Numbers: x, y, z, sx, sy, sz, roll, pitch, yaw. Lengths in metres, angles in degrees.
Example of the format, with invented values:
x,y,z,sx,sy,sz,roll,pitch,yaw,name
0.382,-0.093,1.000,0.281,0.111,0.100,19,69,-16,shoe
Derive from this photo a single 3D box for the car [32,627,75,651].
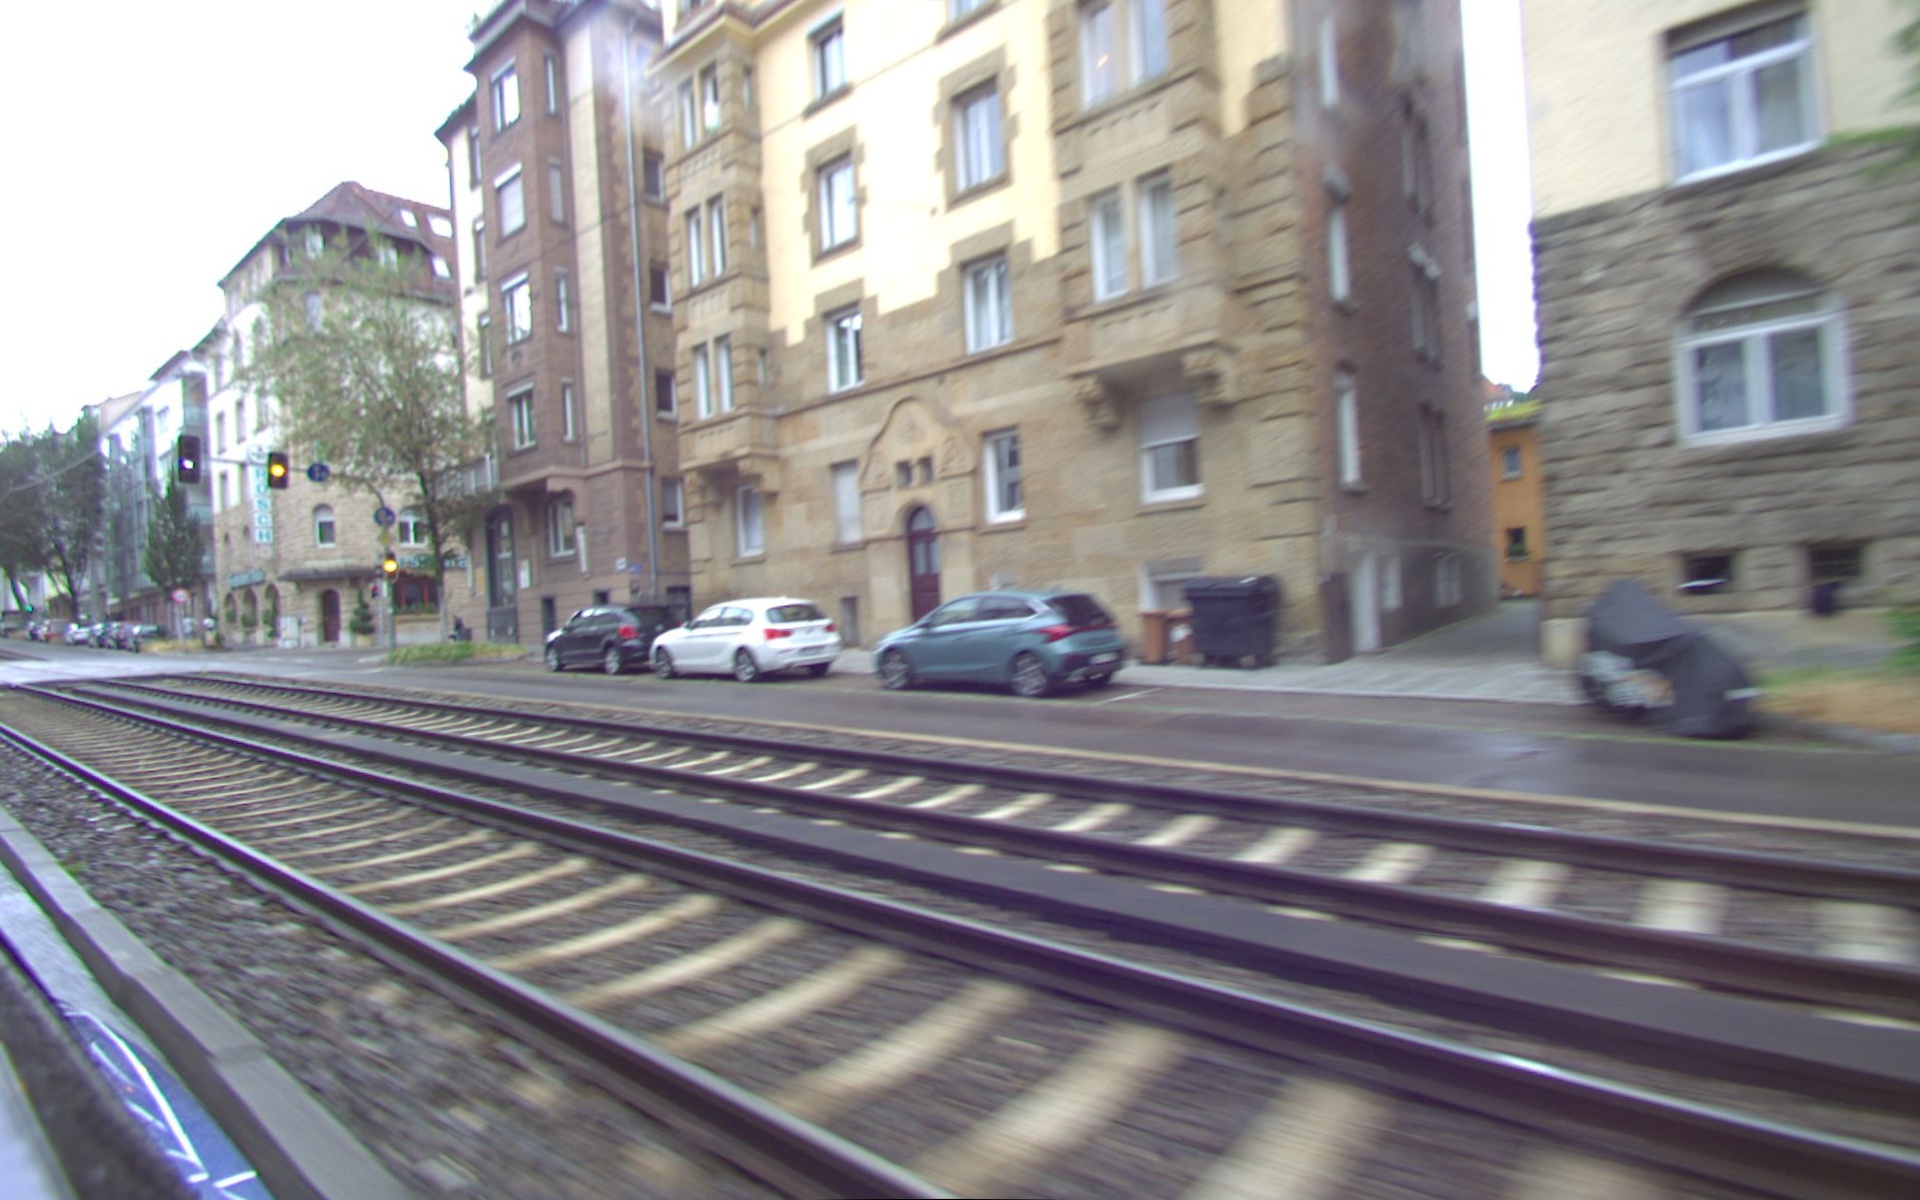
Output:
x,y,z,sx,sy,sz,roll,pitch,yaw,name
-64.837,2.785,72.370,4.156,1.581,1.758,-1,1,40,car

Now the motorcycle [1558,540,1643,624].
x,y,z,sx,sy,sz,roll,pitch,yaw,name
12.770,-0.356,20.133,0.992,1.525,2.852,-5,-2,39,motorcycle

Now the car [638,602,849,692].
x,y,z,sx,sy,sz,roll,pitch,yaw,name
-4.096,0.806,18.767,4.262,1.436,1.649,-1,1,43,car

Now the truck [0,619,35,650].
x,y,z,sx,sy,sz,roll,pitch,yaw,name
-80.863,2.893,86.460,6.353,2.363,2.168,1,1,43,truck

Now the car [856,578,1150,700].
x,y,z,sx,sy,sz,roll,pitch,yaw,name
0.508,0.600,14.735,4.144,1.448,1.545,-4,2,42,car

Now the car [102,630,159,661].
x,y,z,sx,sy,sz,roll,pitch,yaw,name
-45.878,2.494,55.937,3.523,1.509,1.789,-1,1,40,car

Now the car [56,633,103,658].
x,y,z,sx,sy,sz,roll,pitch,yaw,name
-56.349,2.914,64.716,4.128,1.345,1.685,-1,3,41,car

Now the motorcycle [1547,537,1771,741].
x,y,z,sx,sy,sz,roll,pitch,yaw,name
6.426,0.309,9.510,1.285,1.655,2.249,-1,1,24,motorcycle

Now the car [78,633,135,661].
x,y,z,sx,sy,sz,roll,pitch,yaw,name
-49.561,2.725,58.758,4.427,1.466,1.783,-2,0,40,car

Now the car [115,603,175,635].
x,y,z,sx,sy,sz,roll,pitch,yaw,name
-42.467,0.982,52.696,3.892,1.564,1.747,-1,1,41,car

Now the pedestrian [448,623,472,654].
x,y,z,sx,sy,sz,roll,pitch,yaw,name
-24.608,1.896,49.812,0.721,1.426,0.808,-5,-1,44,pedestrian

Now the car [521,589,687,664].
x,y,z,sx,sy,sz,roll,pitch,yaw,name
-7.920,0.532,22.347,3.999,1.497,1.746,0,1,42,car

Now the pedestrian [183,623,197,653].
x,y,z,sx,sy,sz,roll,pitch,yaw,name
-41.110,2.010,54.051,0.644,1.582,0.511,0,0,45,pedestrian
